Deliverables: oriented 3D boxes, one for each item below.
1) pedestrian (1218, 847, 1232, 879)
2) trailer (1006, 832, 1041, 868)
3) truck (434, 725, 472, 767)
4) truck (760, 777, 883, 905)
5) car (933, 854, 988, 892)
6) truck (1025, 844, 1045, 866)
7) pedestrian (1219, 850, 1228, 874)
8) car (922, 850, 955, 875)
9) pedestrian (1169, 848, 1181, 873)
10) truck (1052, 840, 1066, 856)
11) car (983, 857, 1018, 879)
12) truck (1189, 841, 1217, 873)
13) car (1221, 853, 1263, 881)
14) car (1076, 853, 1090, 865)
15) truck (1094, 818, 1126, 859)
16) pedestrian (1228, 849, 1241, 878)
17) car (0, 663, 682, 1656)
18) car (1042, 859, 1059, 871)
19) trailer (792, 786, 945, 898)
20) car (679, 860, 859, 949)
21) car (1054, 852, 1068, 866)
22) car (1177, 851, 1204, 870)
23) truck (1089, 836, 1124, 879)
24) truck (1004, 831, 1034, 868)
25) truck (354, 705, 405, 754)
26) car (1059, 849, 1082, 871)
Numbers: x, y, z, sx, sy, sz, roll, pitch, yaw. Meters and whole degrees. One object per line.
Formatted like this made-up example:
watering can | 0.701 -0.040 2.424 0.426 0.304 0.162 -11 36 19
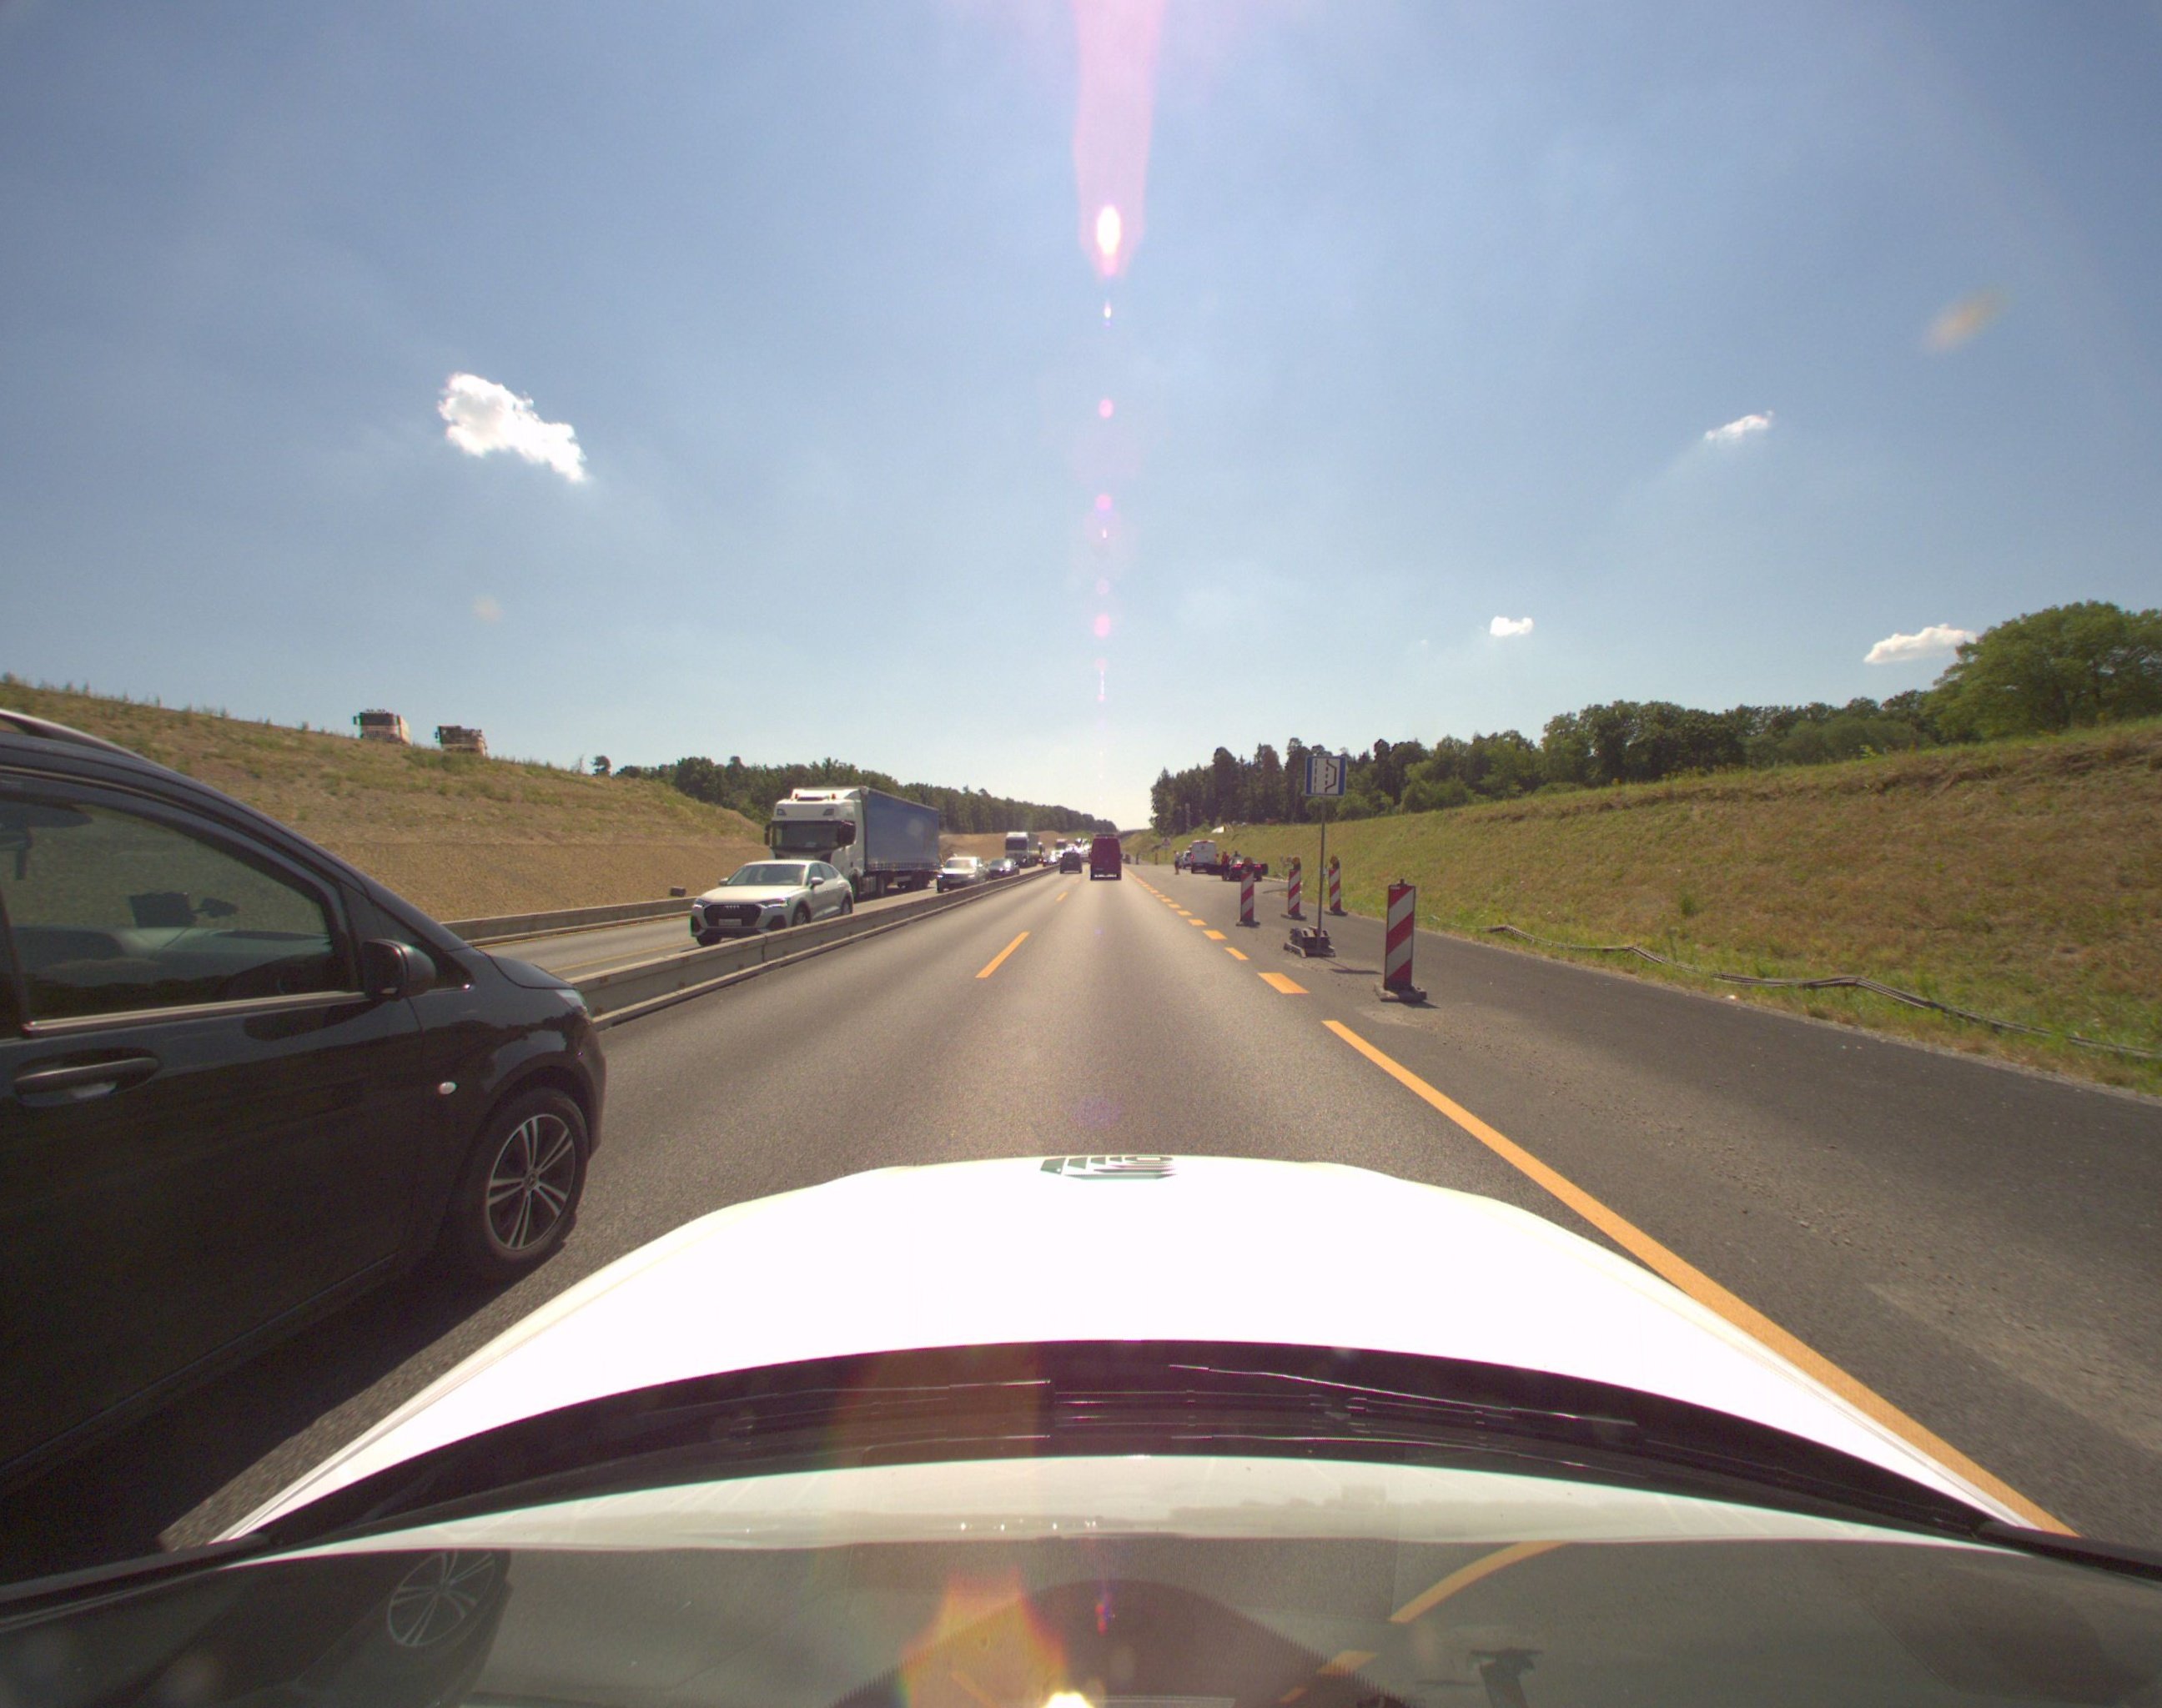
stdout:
pedestrian | 8.303 0.540 46.960 0.642 1.828 0.555 0 0 -20
trailer | -6.738 -0.471 97.627 2.780 4.075 13.715 0 0 1
truck | -60.484 -10.338 78.581 2.311 2.749 8.812 1 -1 -34
truck | -8.874 -0.409 28.420 2.583 4.053 5.150 0 0 1
car | -5.362 0.821 36.821 1.769 1.555 4.139 -3 0 0
truck | -6.535 0.221 116.865 2.389 3.059 5.065 0 -1 2
pedestrian | 10.767 0.595 61.509 0.561 1.795 0.667 0 -1 0
car | -10.694 0.658 61.347 1.711 1.875 4.001 0 -1 2
pedestrian | 7.166 0.496 61.842 0.723 1.828 0.717 0 -1 -10
truck | -5.103 -1.296 190.027 2.499 3.617 9.645 0 -1 2
car | -5.198 0.921 53.109 1.723 1.387 4.860 0 -1 1
truck | 9.776 0.190 65.229 2.117 2.457 5.940 0 0 9
car | 9.232 0.724 47.077 1.647 1.426 4.547 -3 0 2
car | 0.333 0.714 111.559 1.824 1.522 3.962 0 -1 2
truck | 4.182 -2.078 120.241 4.384 5.496 16.608 0 -1 2
pedestrian | 9.527 0.584 50.433 0.624 1.828 0.640 0 0 -10
car | -2.958 0.570 1.228 1.867 1.851 5.480 0 0 2
car | -3.580 1.275 96.903 1.721 1.387 4.484 0 -1 1
trailer | -8.674 -0.392 35.701 2.643 3.938 14.000 0 0 2
car | -5.855 0.891 15.901 1.801 1.488 4.243 0 -1 1
car | -2.947 0.774 119.651 1.819 1.927 5.263 0 -1 1
car | 10.580 0.592 78.861 1.770 1.677 4.851 0 1 -2
truck | 1.668 0.255 52.615 2.145 2.590 5.335 0 -1 2
truck | -6.890 -0.443 90.846 2.758 4.044 4.945 0 -1 2
truck | -61.090 -10.758 71.041 2.371 2.898 8.278 1 -1 -34
car | -0.869 0.474 68.399 1.745 1.824 4.784 0 0 2
